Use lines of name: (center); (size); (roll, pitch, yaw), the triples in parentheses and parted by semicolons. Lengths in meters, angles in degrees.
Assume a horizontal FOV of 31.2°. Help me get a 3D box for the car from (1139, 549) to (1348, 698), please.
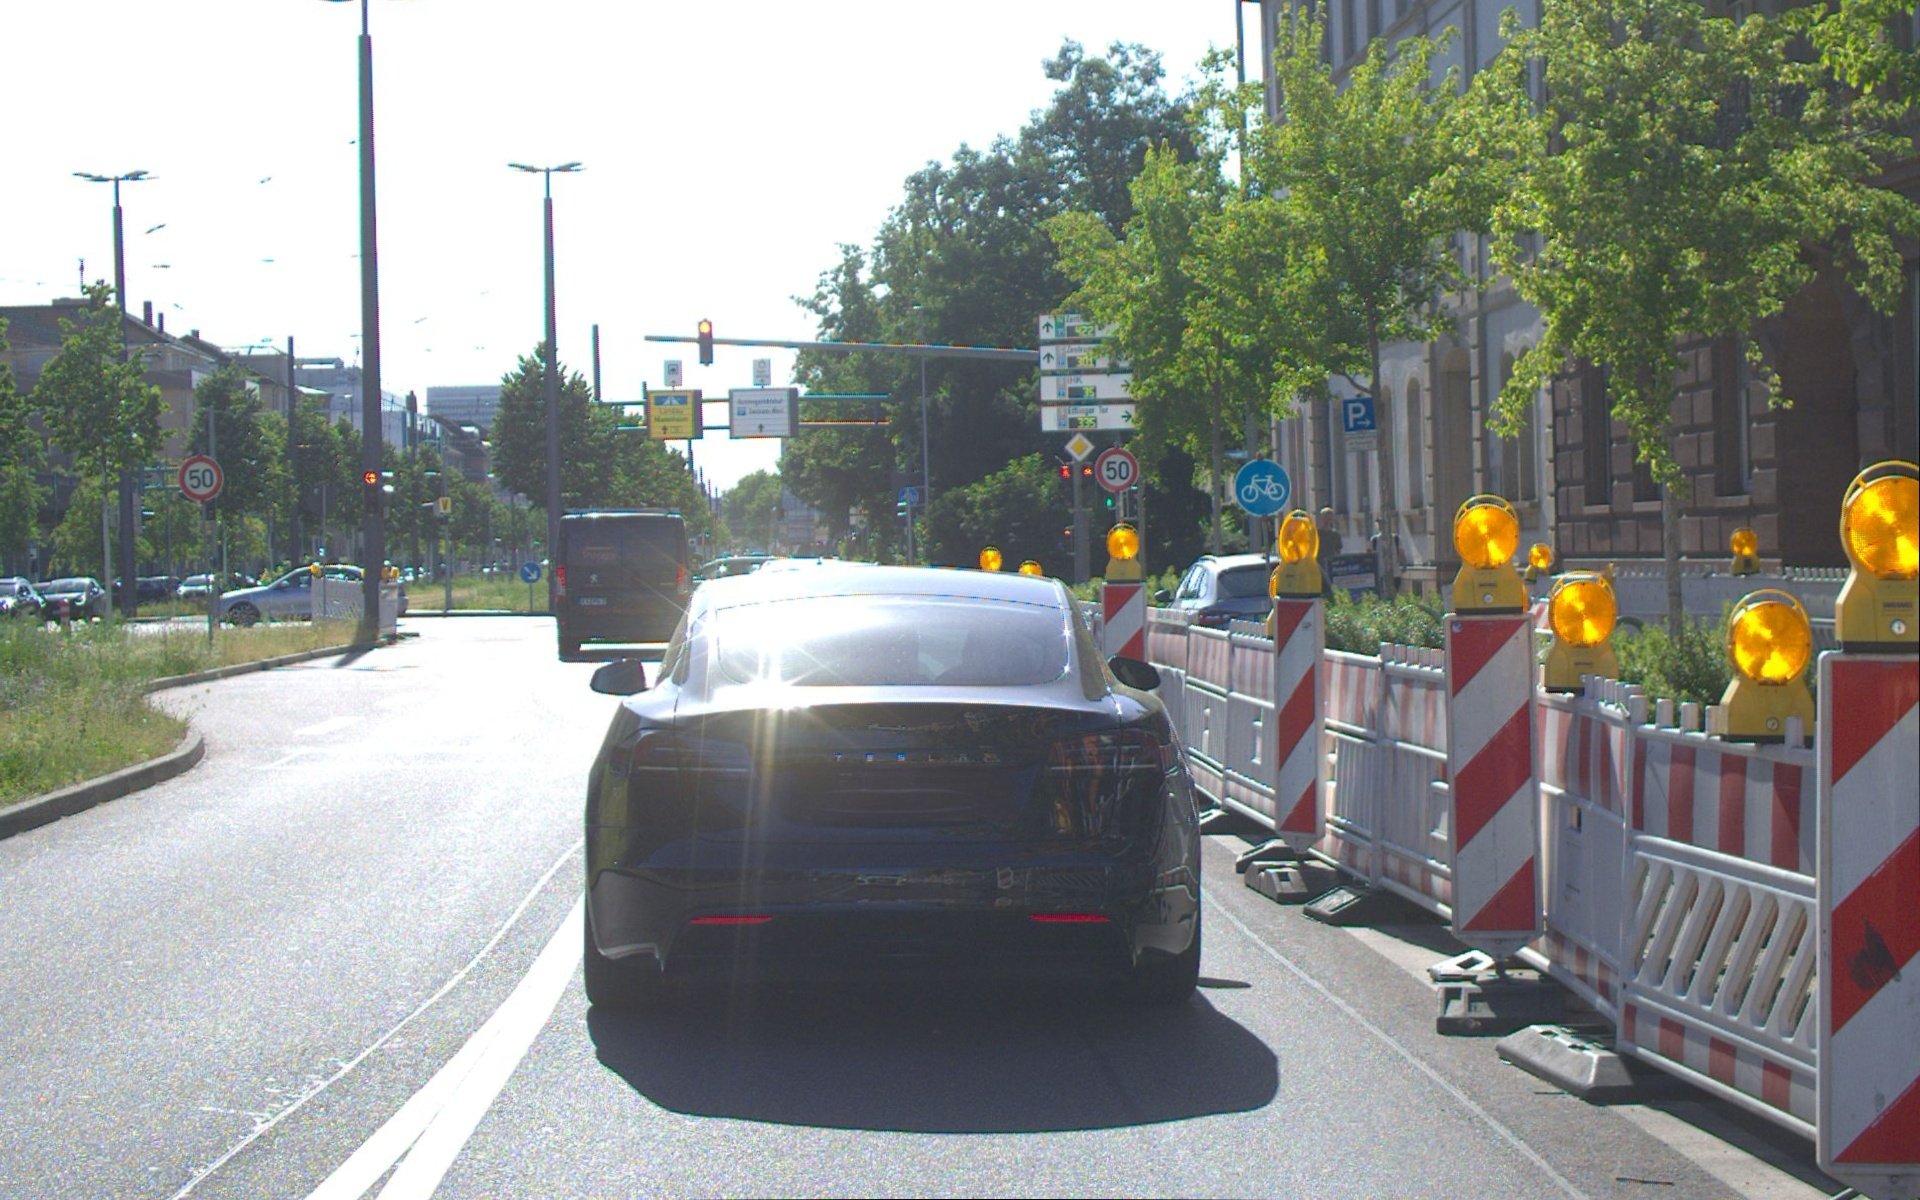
car: (3.153, 0.212, 39.080); (1.647, 1.470, 4.701); (-4, 1, -3)

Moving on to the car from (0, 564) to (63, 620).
car: (-28.853, -0.243, 105.290); (1.790, 1.645, 4.000); (-2, 1, -2)

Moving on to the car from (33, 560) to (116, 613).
car: (-29.244, -0.456, 113.625); (1.790, 1.645, 4.000); (-2, 1, -2)

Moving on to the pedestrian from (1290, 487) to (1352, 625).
pedestrian: (5.107, -0.625, 48.642); (0.658, 1.906, 0.587); (-4, 1, -3)

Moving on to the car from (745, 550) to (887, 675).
car: (-1.857, 0.131, 44.625); (1.749, 1.522, 4.005); (0, 1, -2)

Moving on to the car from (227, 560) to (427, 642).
car: (-14.851, 0.007, 80.766); (4.511, 1.786, 2.001); (-2, 1, -10)

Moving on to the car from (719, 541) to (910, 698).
car: (-1.473, 0.140, 34.234); (1.747, 1.422, 4.839); (-1, 1, -3)

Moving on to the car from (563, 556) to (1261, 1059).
car: (-0.256, 0.582, 12.366); (2.051, 1.439, 4.525); (0, 1, -3)

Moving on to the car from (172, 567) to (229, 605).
car: (-34.459, -0.641, 156.003); (1.790, 1.645, 4.000); (-2, 1, -2)

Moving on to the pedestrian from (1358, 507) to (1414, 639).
pedestrian: (6.021, -0.380, 48.606); (0.563, 1.814, 0.587); (-4, 1, -3)

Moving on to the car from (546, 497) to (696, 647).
car: (-5.310, -0.479, 54.364); (2.218, 2.259, 4.485); (0, 1, -4)

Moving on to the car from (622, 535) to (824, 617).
car: (-5.550, -0.580, 80.939); (4.512, 1.786, 2.000); (-1, 1, 2)
